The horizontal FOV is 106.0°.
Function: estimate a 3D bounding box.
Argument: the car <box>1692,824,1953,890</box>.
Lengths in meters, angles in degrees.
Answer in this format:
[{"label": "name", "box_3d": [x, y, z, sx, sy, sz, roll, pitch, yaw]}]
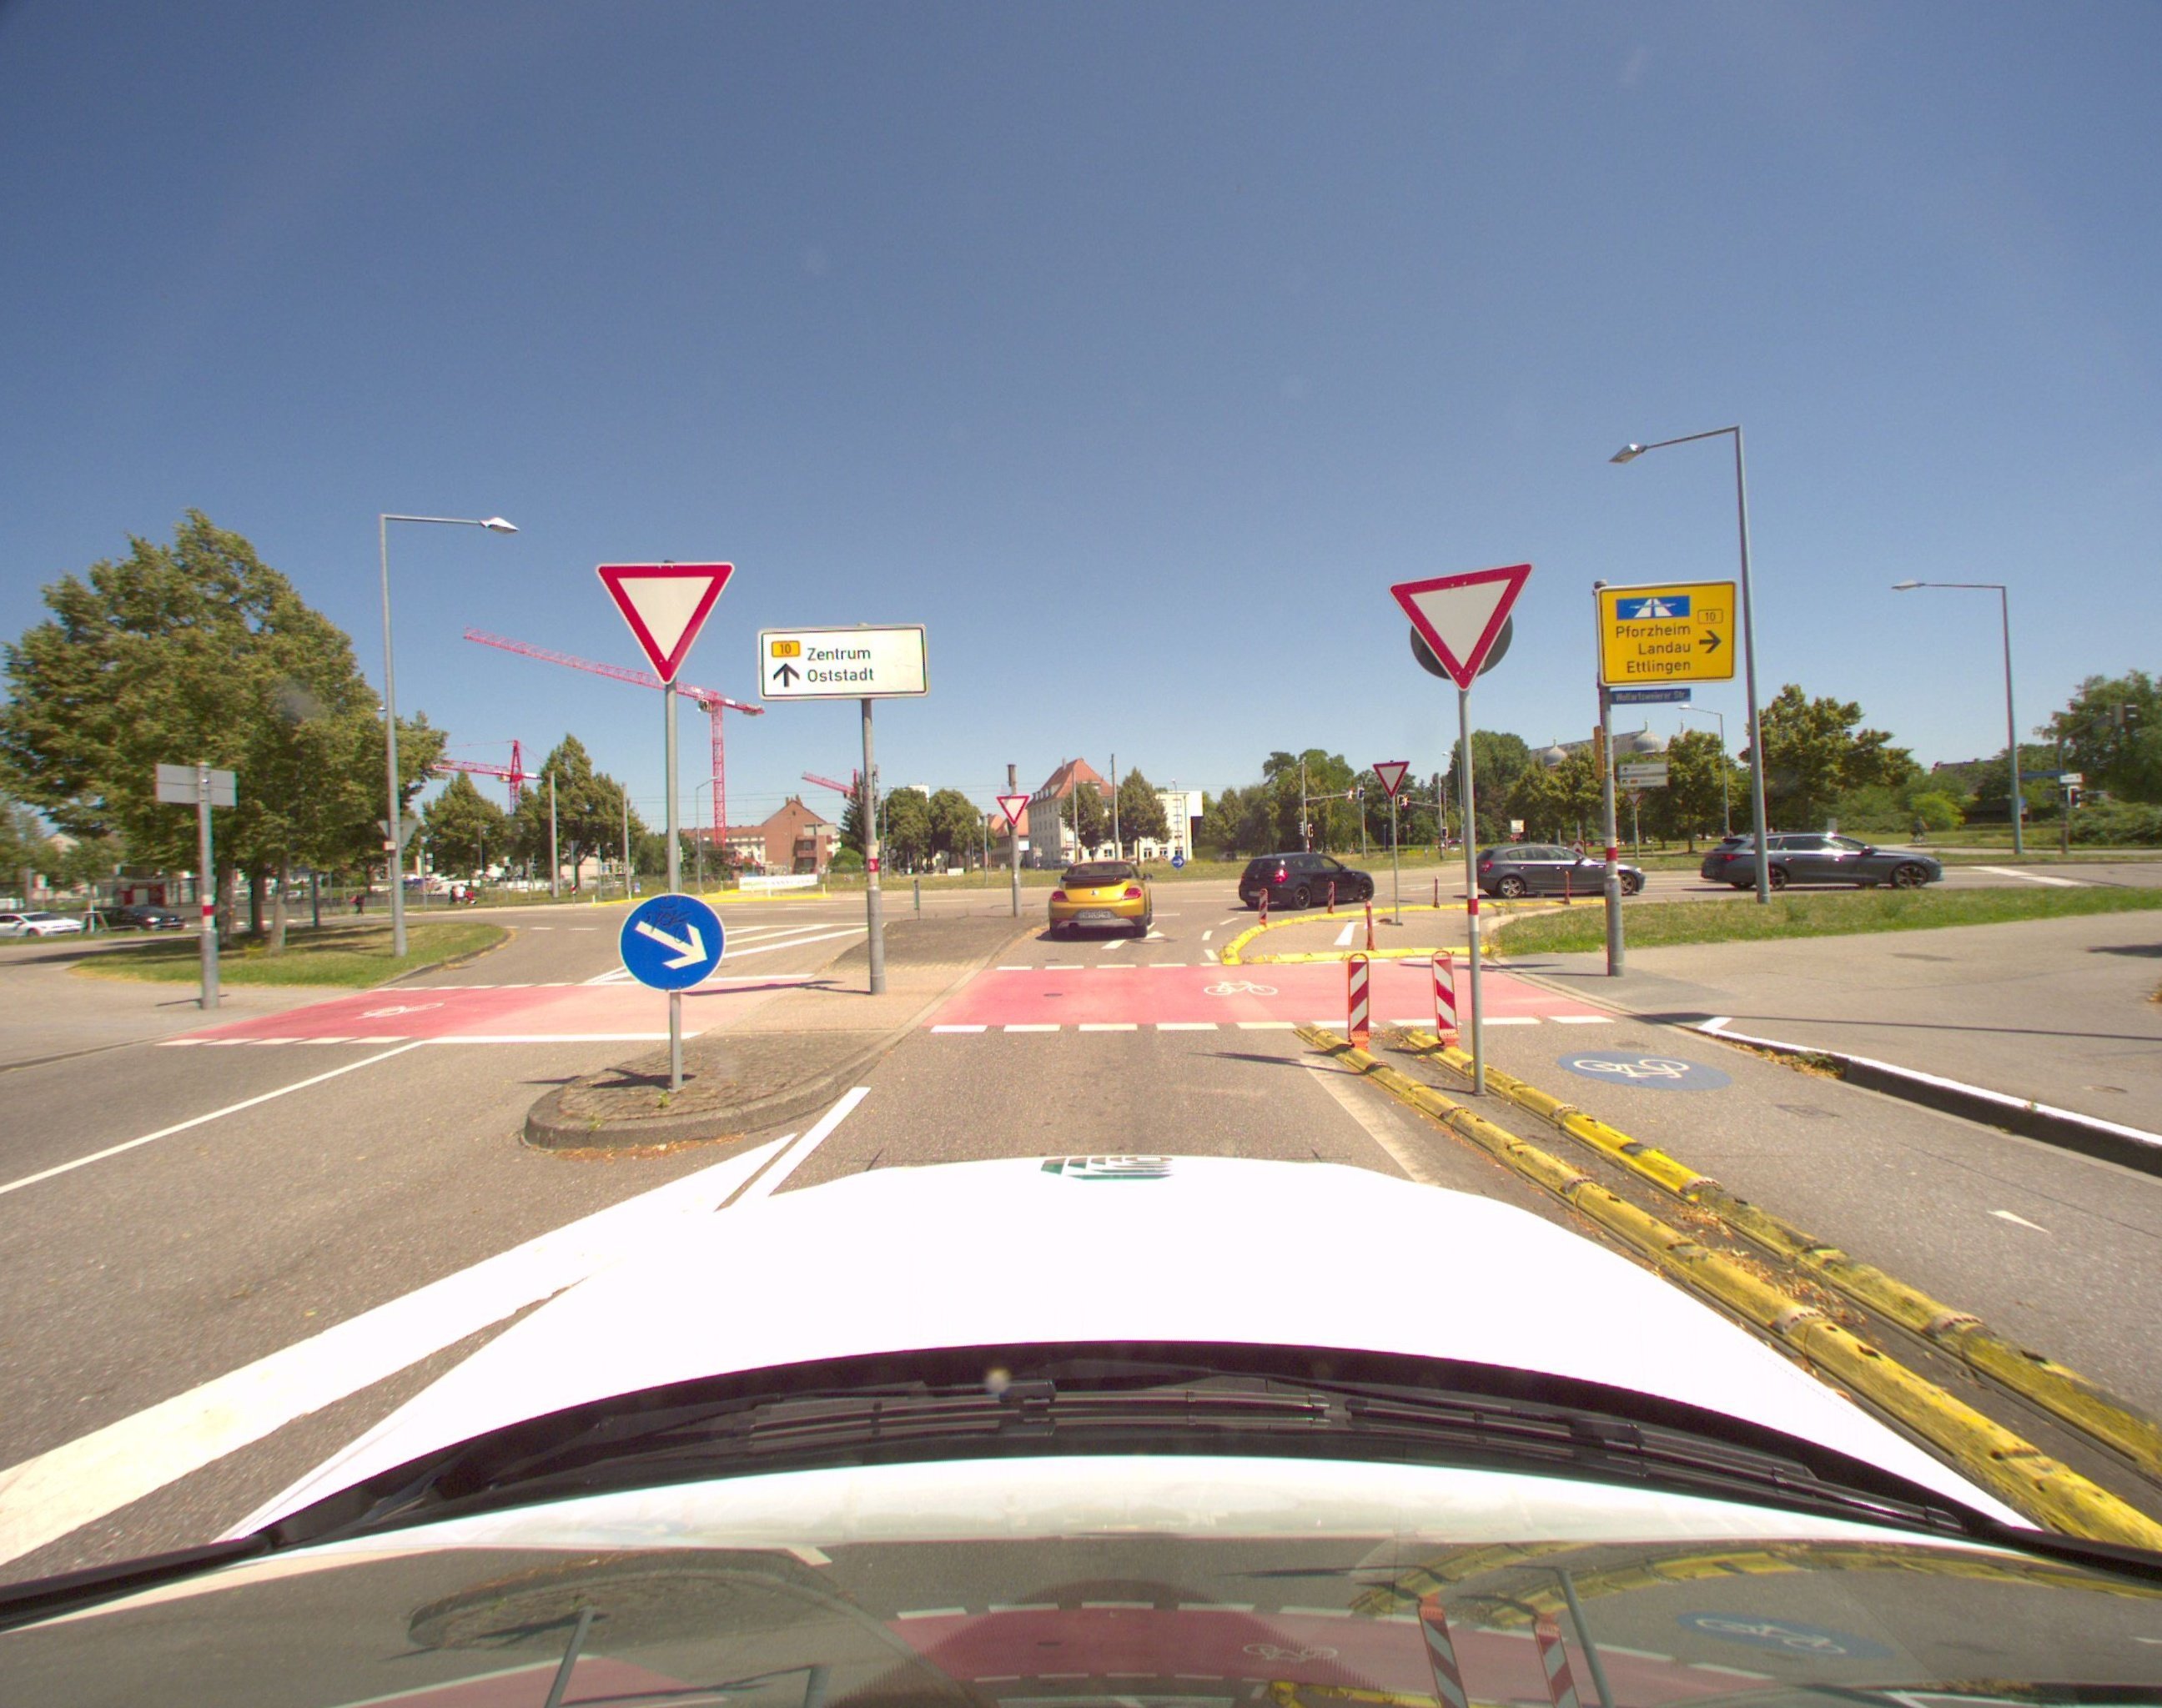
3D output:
[{"label": "car", "box_3d": [18.463, 0.090, 20.581, 4.403, 1.418, 2.010, -3, 0, 20]}]

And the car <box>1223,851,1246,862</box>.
[{"label": "car", "box_3d": [28.619, 0.475, 152.099, 3.956, 2.014, 2.009, -1, -1, 17]}]

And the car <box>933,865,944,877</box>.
[{"label": "car", "box_3d": [-26.419, 3.145, 150.973, 1.994, 2.014, 3.985, -1, -1, -11]}]

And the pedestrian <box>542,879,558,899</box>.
[{"label": "pedestrian", "box_3d": [-43.966, 2.866, 67.422, 0.773, 1.640, 0.764, -1, -1, 14]}]

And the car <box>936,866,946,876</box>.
[{"label": "car", "box_3d": [-28.968, 3.437, 167.931, 1.994, 2.014, 3.985, -1, -1, -11]}]

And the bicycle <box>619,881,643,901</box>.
[{"label": "bicycle", "box_3d": [-39.774, 3.267, 71.978, 0.554, 1.685, 2.093, -1, -1, 13]}]

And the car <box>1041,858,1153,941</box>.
[{"label": "car", "box_3d": [0.439, 0.821, 16.154, 1.816, 1.403, 3.669, -2, 0, 7]}]

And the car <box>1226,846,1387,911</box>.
[{"label": "car", "box_3d": [5.932, 0.587, 21.357, 4.014, 1.440, 1.785, -3, 1, -31]}]

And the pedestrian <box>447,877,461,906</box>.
[{"label": "pedestrian", "box_3d": [-43.122, 2.593, 56.048, 0.631, 1.934, 0.640, -2, 0, -32]}]

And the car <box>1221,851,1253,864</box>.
[{"label": "car", "box_3d": [21.917, 0.494, 114.723, 3.988, 1.684, 1.993, -1, -1, -11]}]

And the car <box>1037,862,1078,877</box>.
[{"label": "car", "box_3d": [-2.418, 1.583, 83.594, 3.970, 1.464, 2.002, -1, -1, 3]}]

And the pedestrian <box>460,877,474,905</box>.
[{"label": "pedestrian", "box_3d": [-42.922, 2.568, 56.950, 0.631, 1.934, 0.640, -2, 0, -32]}]

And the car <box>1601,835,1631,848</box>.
[{"label": "car", "box_3d": [90.959, -2.071, 138.494, 2.011, 2.014, 3.952, 0, -1, -42]}]

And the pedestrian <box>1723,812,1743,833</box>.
[{"label": "pedestrian", "box_3d": [47.444, -2.273, 59.273, 0.707, 1.451, 0.816, -1, -1, -9]}]

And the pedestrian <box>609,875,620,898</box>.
[{"label": "pedestrian", "box_3d": [-41.293, 2.912, 72.037, 0.599, 2.014, 0.595, -1, -1, 2]}]

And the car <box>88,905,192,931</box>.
[{"label": "car", "box_3d": [-49.420, 3.361, 42.799, 3.539, 1.212, 1.743, -1, -1, 4]}]

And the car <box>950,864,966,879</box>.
[{"label": "car", "box_3d": [-16.686, 2.366, 110.389, 1.994, 2.014, 3.985, -1, -1, -11]}]

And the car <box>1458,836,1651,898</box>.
[{"label": "car", "box_3d": [12.423, 0.338, 21.619, 4.040, 1.403, 1.759, -3, 0, 12]}]

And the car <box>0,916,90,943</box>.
[{"label": "car", "box_3d": [-54.977, 3.983, 43.073, 3.298, 1.225, 1.579, -1, -1, 4]}]

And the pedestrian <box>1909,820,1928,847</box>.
[{"label": "pedestrian", "box_3d": [55.621, -1.365, 54.090, 0.674, 1.731, 0.572, -1, -1, -15]}]

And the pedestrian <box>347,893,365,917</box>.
[{"label": "pedestrian", "box_3d": [-44.665, 3.124, 50.173, 0.539, 1.406, 0.598, -3, 0, 5]}]

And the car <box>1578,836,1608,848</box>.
[{"label": "car", "box_3d": [85.885, -2.005, 136.737, 3.949, 2.014, 2.012, -2, -1, 41]}]

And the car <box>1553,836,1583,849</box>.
[{"label": "car", "box_3d": [81.822, -1.934, 136.776, 3.949, 2.014, 2.012, -2, -1, 41]}]

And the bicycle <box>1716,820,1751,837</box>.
[{"label": "bicycle", "box_3d": [47.478, -1.857, 59.293, 0.727, 1.115, 2.052, -1, -1, -8]}]
